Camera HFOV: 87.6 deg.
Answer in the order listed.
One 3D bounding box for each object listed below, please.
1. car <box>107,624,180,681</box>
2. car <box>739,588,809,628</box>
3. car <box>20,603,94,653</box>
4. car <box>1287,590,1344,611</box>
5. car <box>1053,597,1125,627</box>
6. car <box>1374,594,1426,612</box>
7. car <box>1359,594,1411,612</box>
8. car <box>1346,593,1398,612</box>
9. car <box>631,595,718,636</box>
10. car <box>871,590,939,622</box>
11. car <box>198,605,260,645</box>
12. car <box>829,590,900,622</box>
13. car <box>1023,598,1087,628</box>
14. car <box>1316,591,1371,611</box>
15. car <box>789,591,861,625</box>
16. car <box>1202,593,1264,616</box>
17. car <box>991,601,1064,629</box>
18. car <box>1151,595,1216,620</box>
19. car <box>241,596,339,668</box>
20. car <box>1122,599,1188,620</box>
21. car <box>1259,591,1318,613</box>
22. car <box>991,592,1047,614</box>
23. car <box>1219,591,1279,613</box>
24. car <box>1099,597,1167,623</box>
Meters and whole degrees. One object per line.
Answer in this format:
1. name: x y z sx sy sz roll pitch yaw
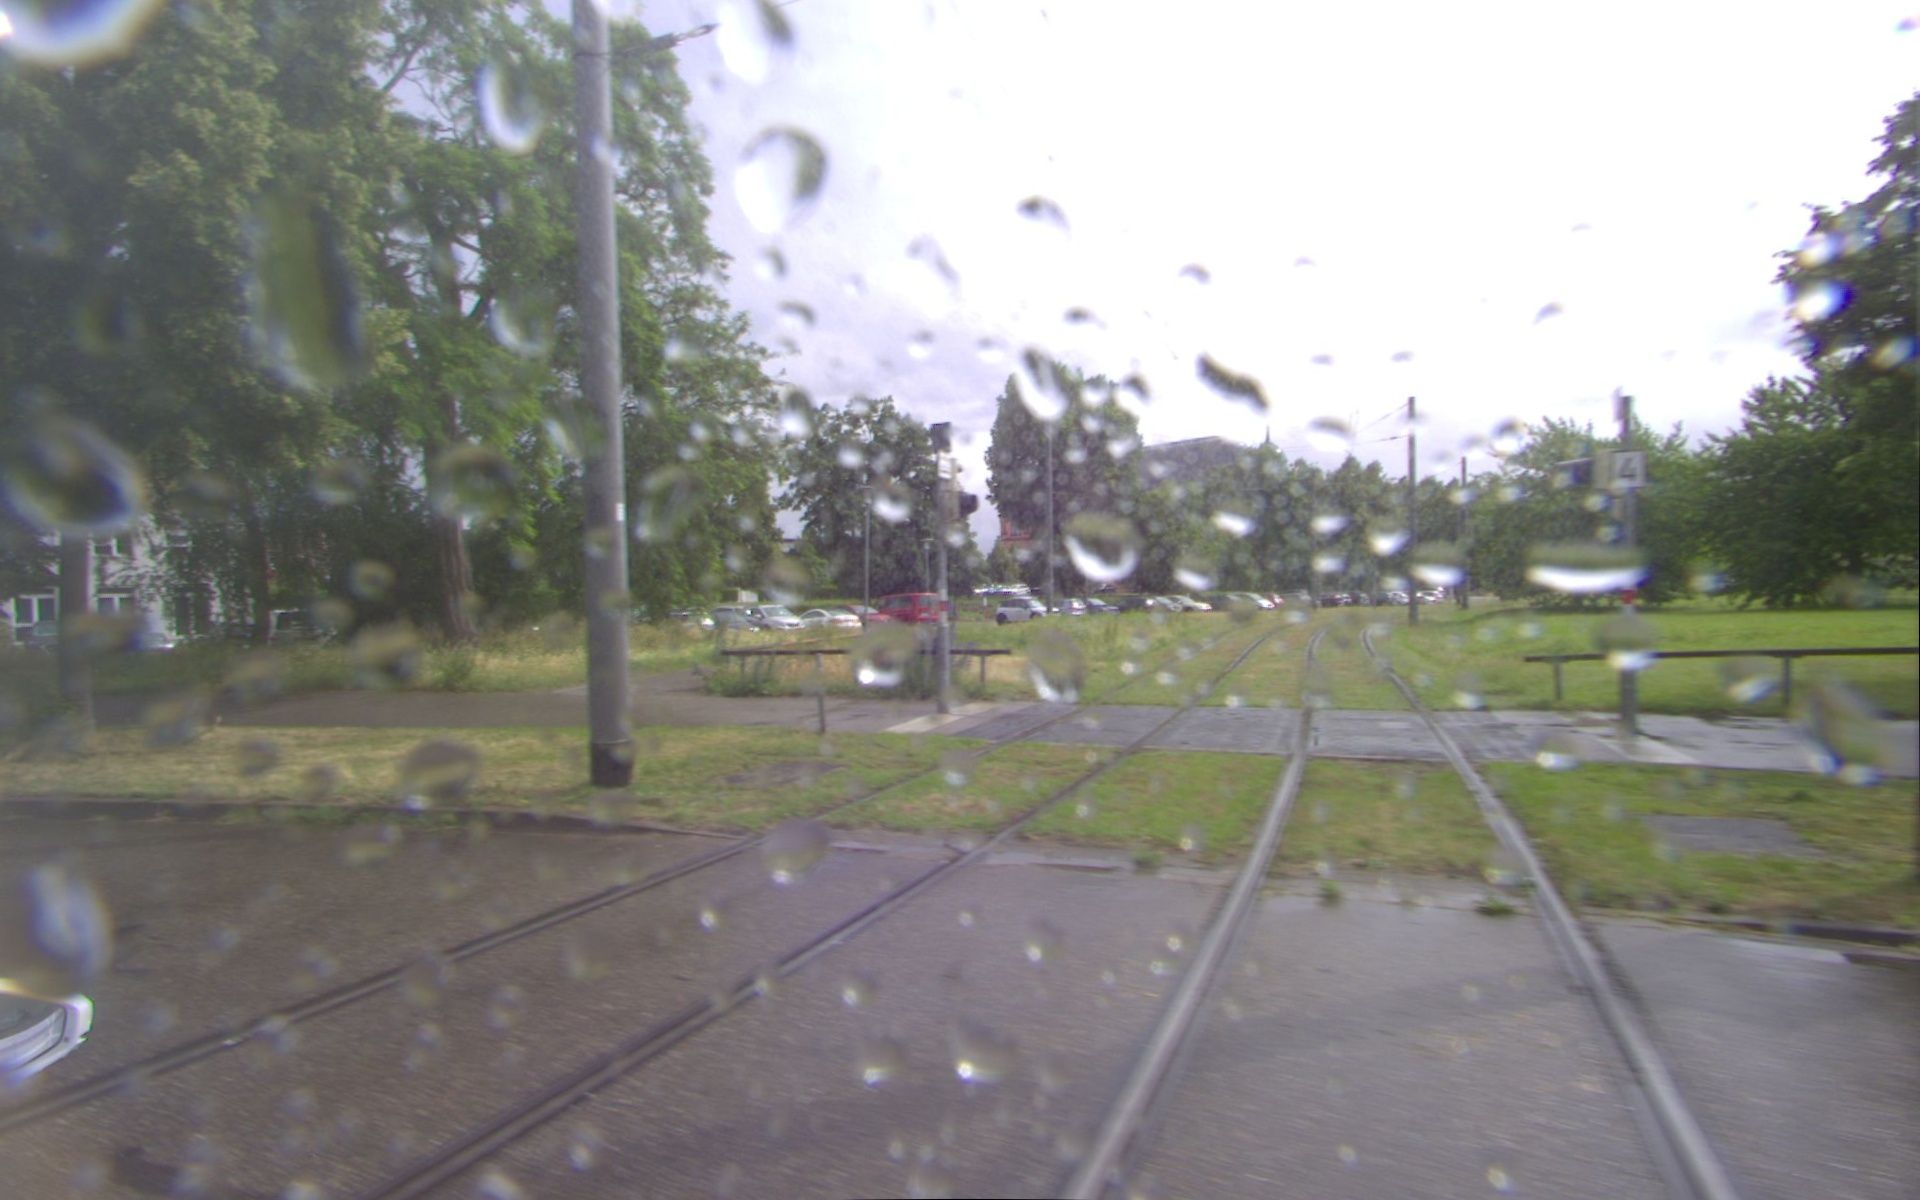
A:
1. car: -24.458 1.512 29.972 1.590 1.530 3.590 -2 0 -40
2. car: -8.457 0.363 45.340 1.532 1.681 3.620 -2 1 -39
3. car: -33.359 0.975 36.956 1.834 1.574 4.063 -2 3 -44
4. car: 28.660 0.045 80.816 1.831 1.580 3.941 -2 0 -43
5. car: 7.752 0.711 60.372 1.979 1.737 3.964 -2 0 -42
6. car: 40.464 0.320 92.110 1.831 1.580 3.941 -2 0 -43
7. car: 38.436 0.278 90.691 1.831 1.580 3.941 -2 0 -43
8. car: 36.760 0.241 89.384 1.831 1.580 3.941 -2 0 -43
9. car: -11.745 0.632 41.056 1.831 1.580 3.941 -2 0 -43
10. car: -2.767 0.305 50.015 1.630 1.530 3.622 -2 1 -38
11. car: -29.535 0.979 40.412 1.645 1.364 3.546 -2 3 -42
12. car: -4.652 0.296 48.365 1.627 1.481 3.579 -2 1 -41
13. car: 5.539 0.771 58.519 1.534 1.682 3.594 -2 0 -43
14. car: 32.246 0.124 84.264 1.831 1.580 3.941 -2 0 -43
15. car: -6.284 0.366 46.441 1.627 1.481 3.579 -2 1 -41
16. car: 19.607 0.353 72.030 1.831 1.580 3.941 -2 0 -43
17. car: 3.797 0.861 56.953 1.780 1.548 3.962 -2 0 -43
18. car: 14.963 0.511 67.182 1.831 1.580 3.941 -2 0 -43
19. car: -21.912 0.934 32.648 2.089 2.086 5.117 -3 2 -39
20. car: 12.722 0.621 65.563 1.831 1.325 3.941 -2 0 -43
21. car: 25.243 0.154 77.026 1.831 1.580 3.941 -2 0 -43
22. car: 4.364 0.212 74.316 1.780 1.548 3.962 -2 0 -43
23. car: 21.620 0.175 75.069 1.831 1.580 3.941 -2 0 -43
24. car: 10.925 0.652 63.533 1.831 1.580 3.941 -2 0 -43
